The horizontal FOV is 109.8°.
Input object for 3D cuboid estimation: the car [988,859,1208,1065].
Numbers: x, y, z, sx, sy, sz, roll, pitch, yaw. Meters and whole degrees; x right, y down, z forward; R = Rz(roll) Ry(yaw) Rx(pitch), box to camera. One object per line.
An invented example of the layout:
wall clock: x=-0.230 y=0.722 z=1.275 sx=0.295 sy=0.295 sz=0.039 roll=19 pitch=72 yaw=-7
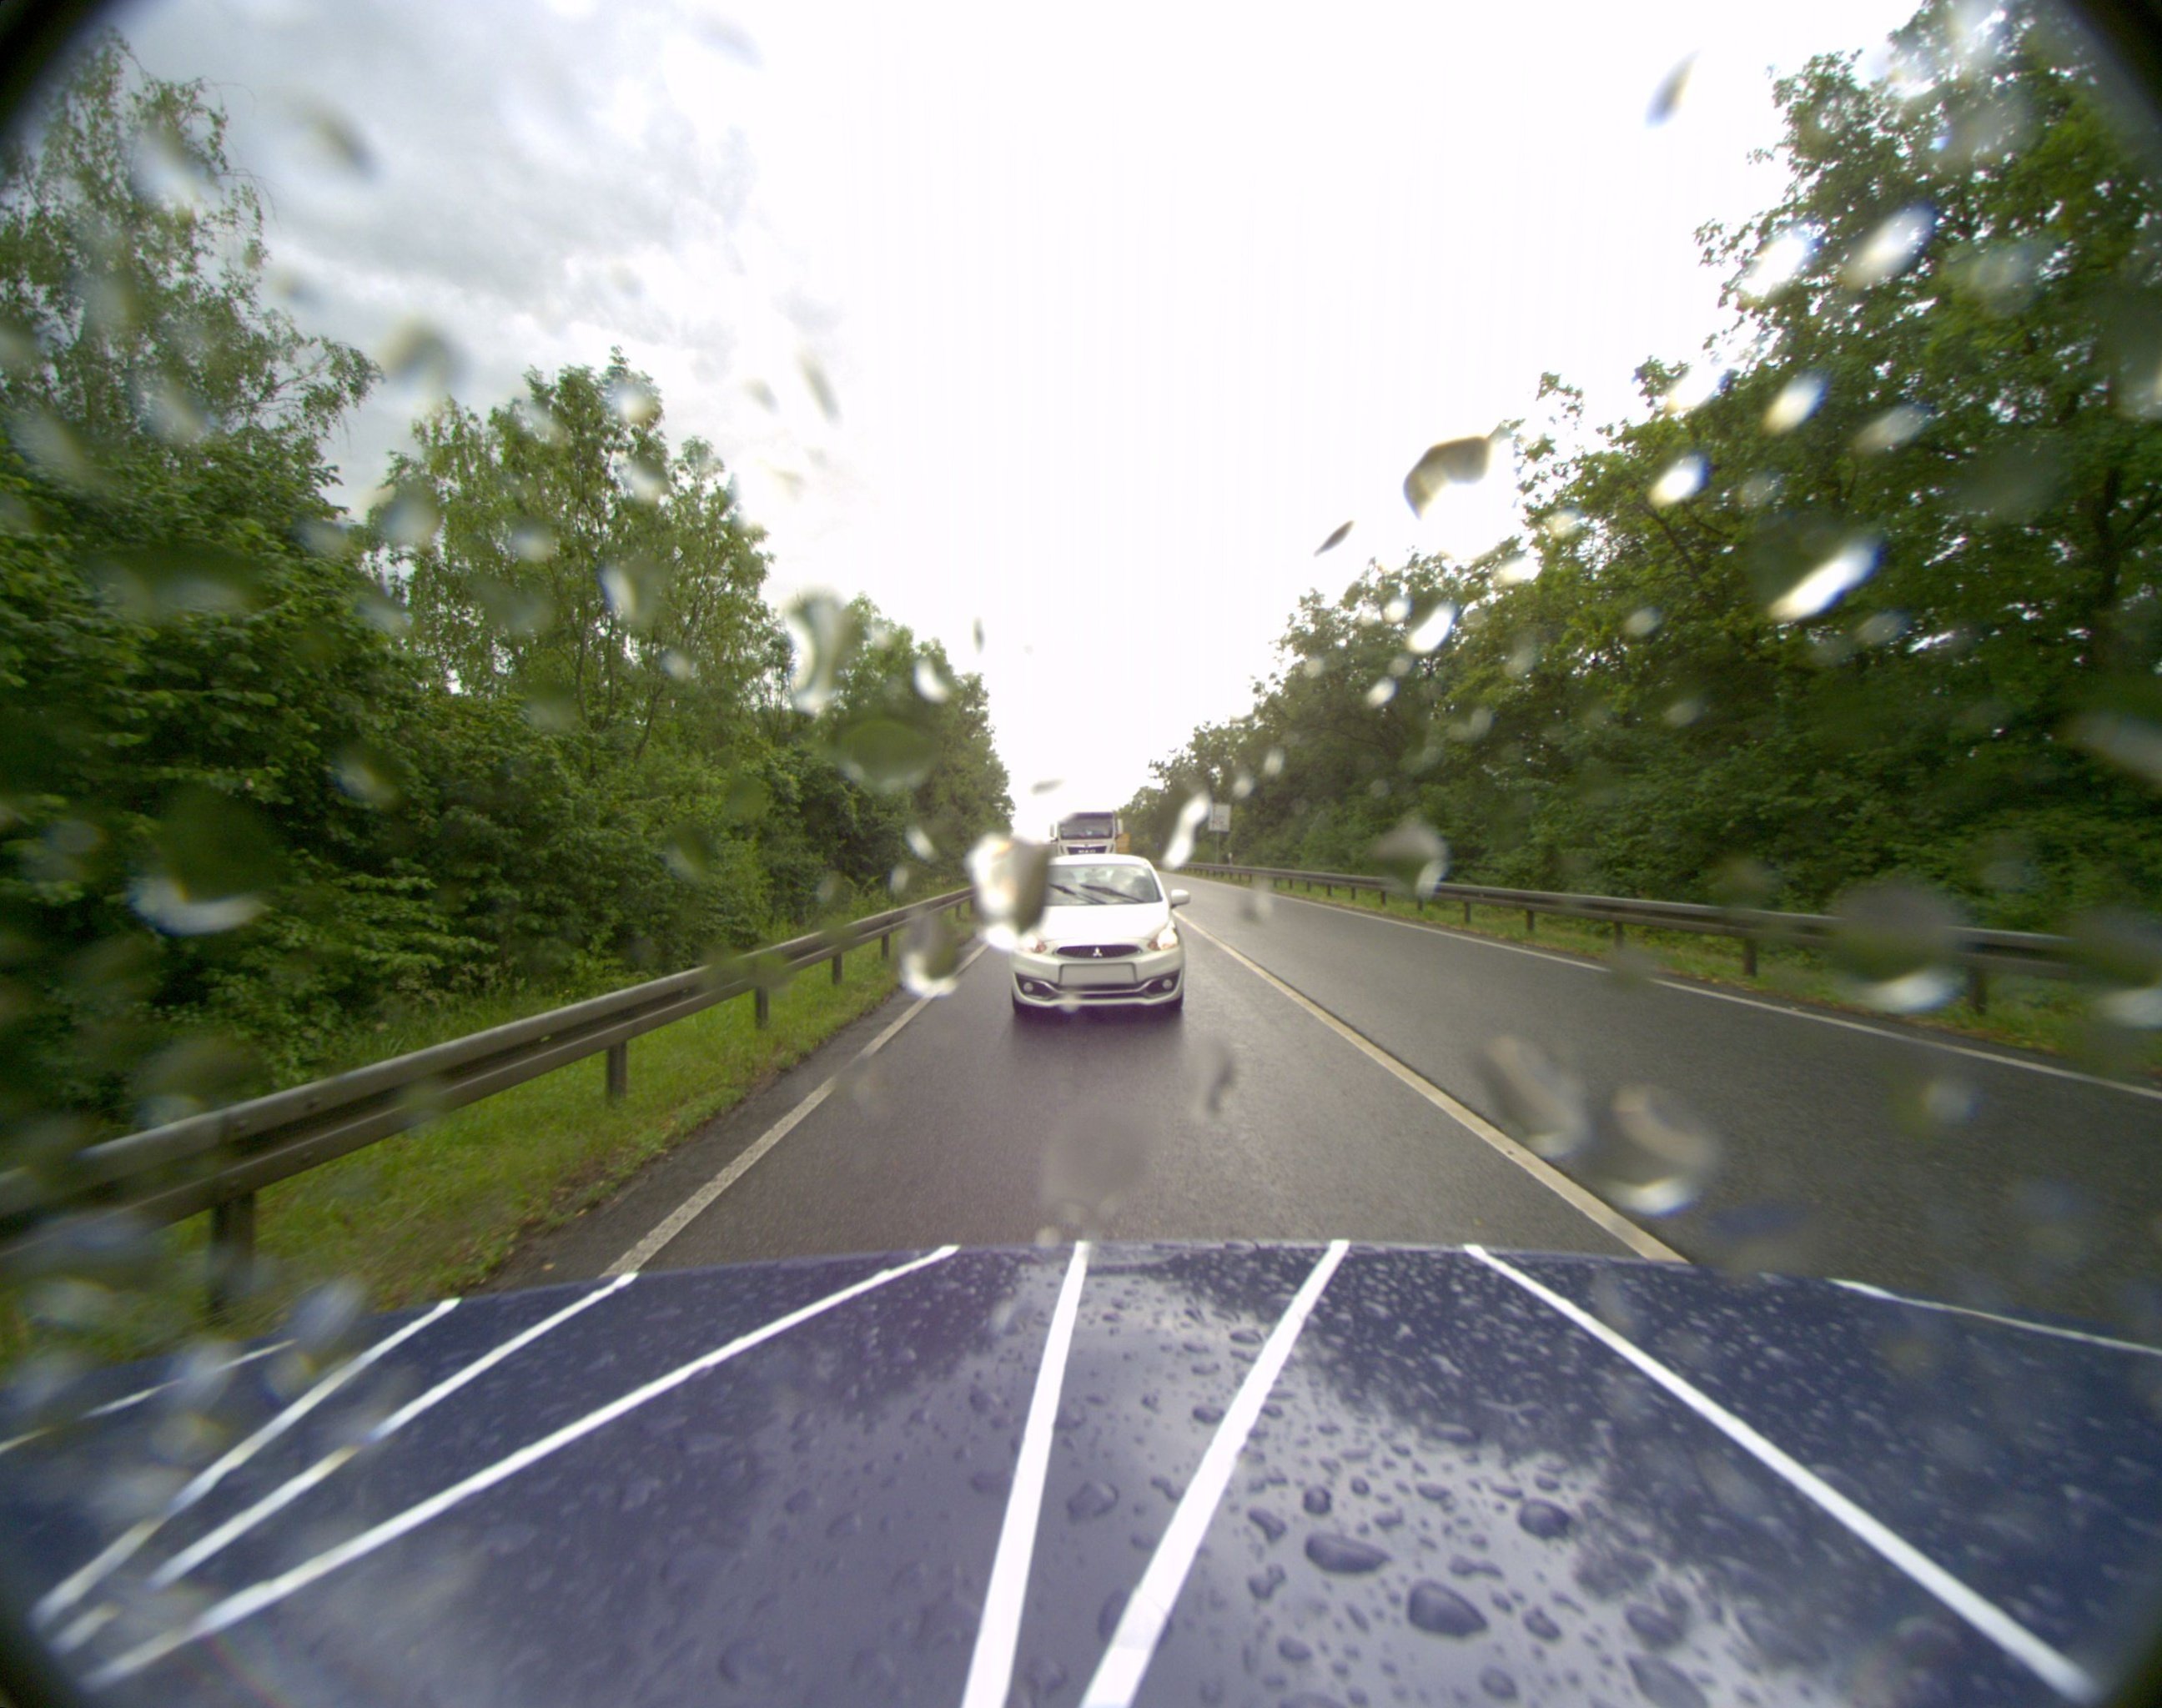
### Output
car: x=0.130 y=0.833 z=7.853 sx=1.610 sy=1.435 sz=4.208 roll=-2 pitch=1 yaw=0

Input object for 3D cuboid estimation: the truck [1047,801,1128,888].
truck: x=0.176 y=-0.451 z=35.217 sx=3.136 sy=3.364 sz=9.280 roll=-2 pitch=1 yaw=-1

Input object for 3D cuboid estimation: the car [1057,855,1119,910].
car: x=0.221 y=0.777 z=22.987 sx=1.640 sy=1.413 sz=4.491 roll=-2 pitch=0 yaw=1
